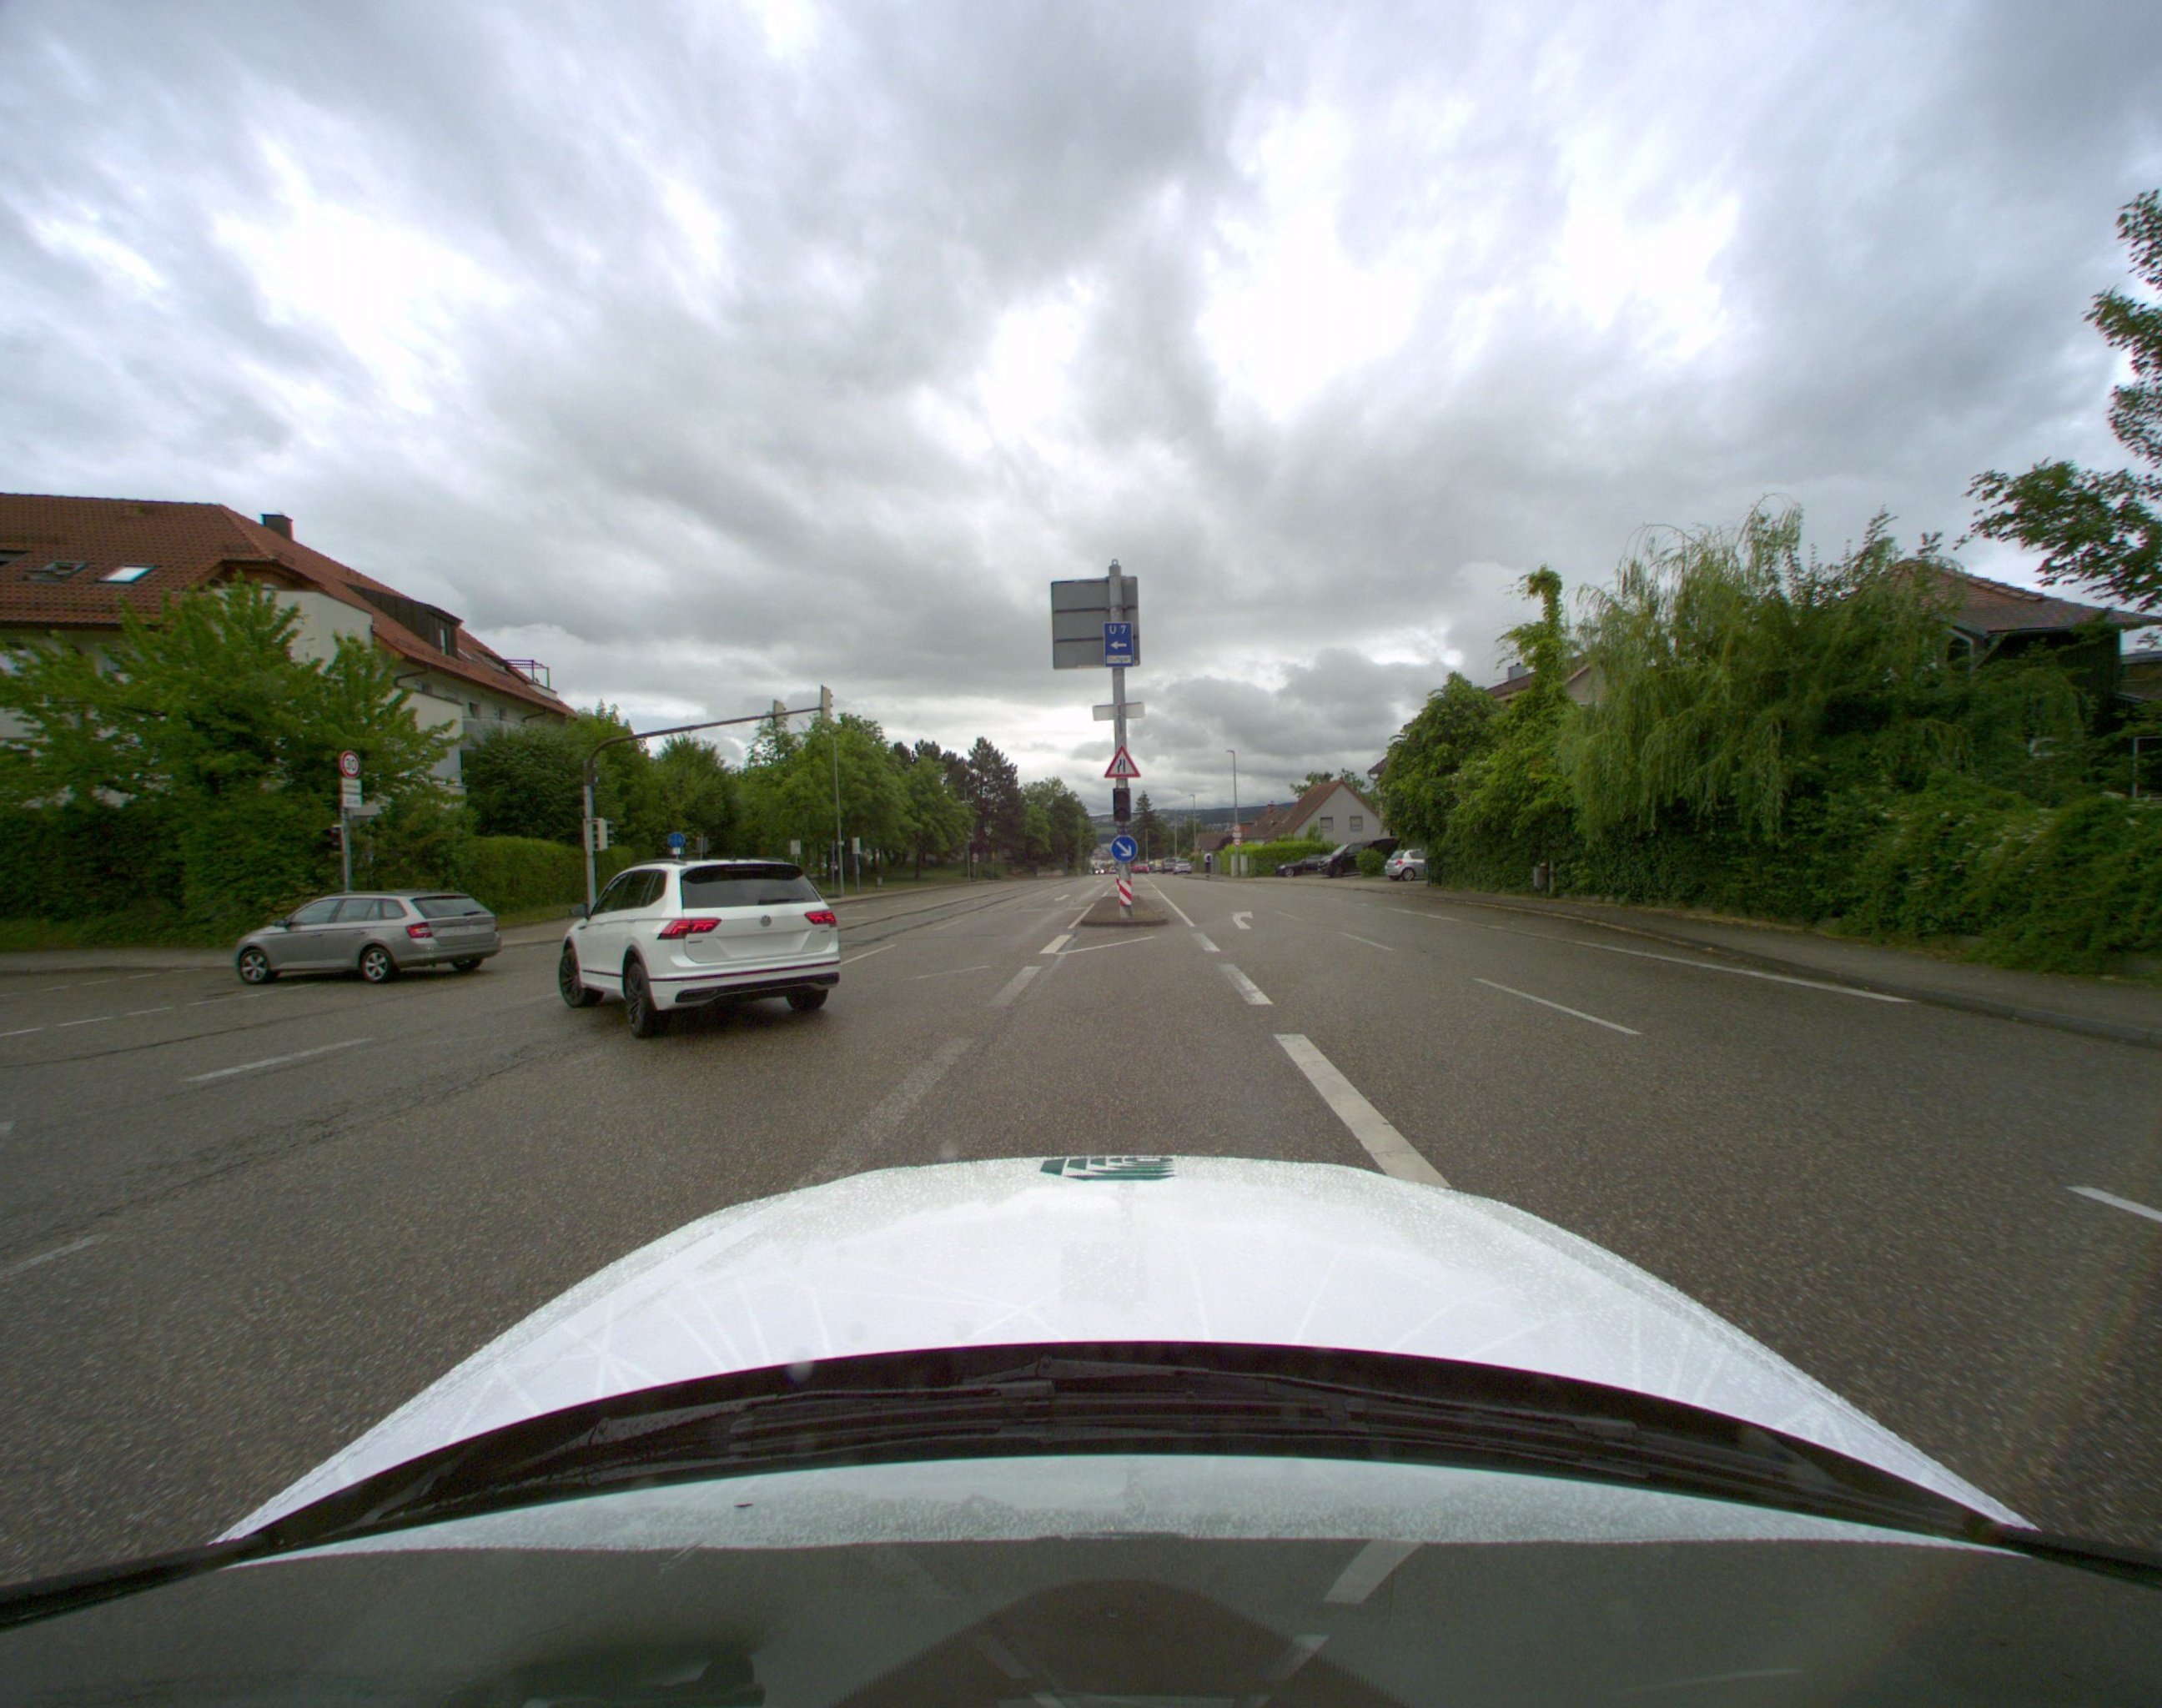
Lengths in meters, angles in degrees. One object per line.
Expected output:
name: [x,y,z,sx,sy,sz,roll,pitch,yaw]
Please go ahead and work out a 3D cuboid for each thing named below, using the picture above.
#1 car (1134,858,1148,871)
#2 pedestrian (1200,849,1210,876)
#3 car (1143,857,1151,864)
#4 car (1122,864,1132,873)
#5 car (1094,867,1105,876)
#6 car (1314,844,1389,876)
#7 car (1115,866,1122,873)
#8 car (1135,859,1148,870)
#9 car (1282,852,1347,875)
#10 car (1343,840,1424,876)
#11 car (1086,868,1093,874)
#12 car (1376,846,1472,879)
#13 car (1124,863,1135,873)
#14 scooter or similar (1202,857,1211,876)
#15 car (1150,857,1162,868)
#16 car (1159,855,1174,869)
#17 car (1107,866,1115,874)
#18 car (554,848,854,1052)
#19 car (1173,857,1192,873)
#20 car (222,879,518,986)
car: [7.812,1.361,105.808,1.746,1.574,4.006,-2,0,5]
pedestrian: [9.320,0.624,61.290,0.653,2.002,0.718,-2,0,1]
car: [14.914,1.507,184.190,1.842,1.574,4.006,-2,0,5]
car: [9.759,3.087,171.134,1.878,1.794,4.006,-2,0,5]
car: [3.984,3.788,174.327,1.835,1.717,4.006,-2,0,6]
car: [15.209,0.349,45.950,3.615,1.626,1.791,-2,0,0]
car: [10.381,4.286,225.425,1.985,1.651,4.003,-2,0,3]
car: [8.856,1.503,119.161,1.730,1.574,4.006,-2,0,5]
car: [14.562,0.606,50.875,3.672,1.370,1.520,-1,-2,3]
car: [16.107,0.200,43.485,3.614,1.746,1.708,-2,0,1]
car: [2.600,5.281,252.227,1.985,1.651,4.003,-2,0,3]
car: [15.970,0.404,38.048,3.705,1.395,1.727,-2,-1,-3]
car: [8.962,2.548,149.892,1.789,1.783,4.005,-2,0,5]
scooter or similar: [9.431,0.946,61.265,0.459,1.361,1.385,-2,0,1]
car: [11.680,1.323,127.160,1.842,1.574,4.006,-2,0,5]
car: [10.754,0.990,102.497,1.842,1.574,4.006,-1,2,5]
car: [7.352,3.872,201.200,1.878,1.794,4.005,-2,0,4]
car: [-4.371,0.882,9.064,1.778,1.696,4.220,-2,-1,-43]
car: [10.395,1.135,83.653,1.842,1.574,4.006,-1,0,5]
car: [-12.107,1.316,13.973,3.886,1.589,1.811,-2,0,12]
